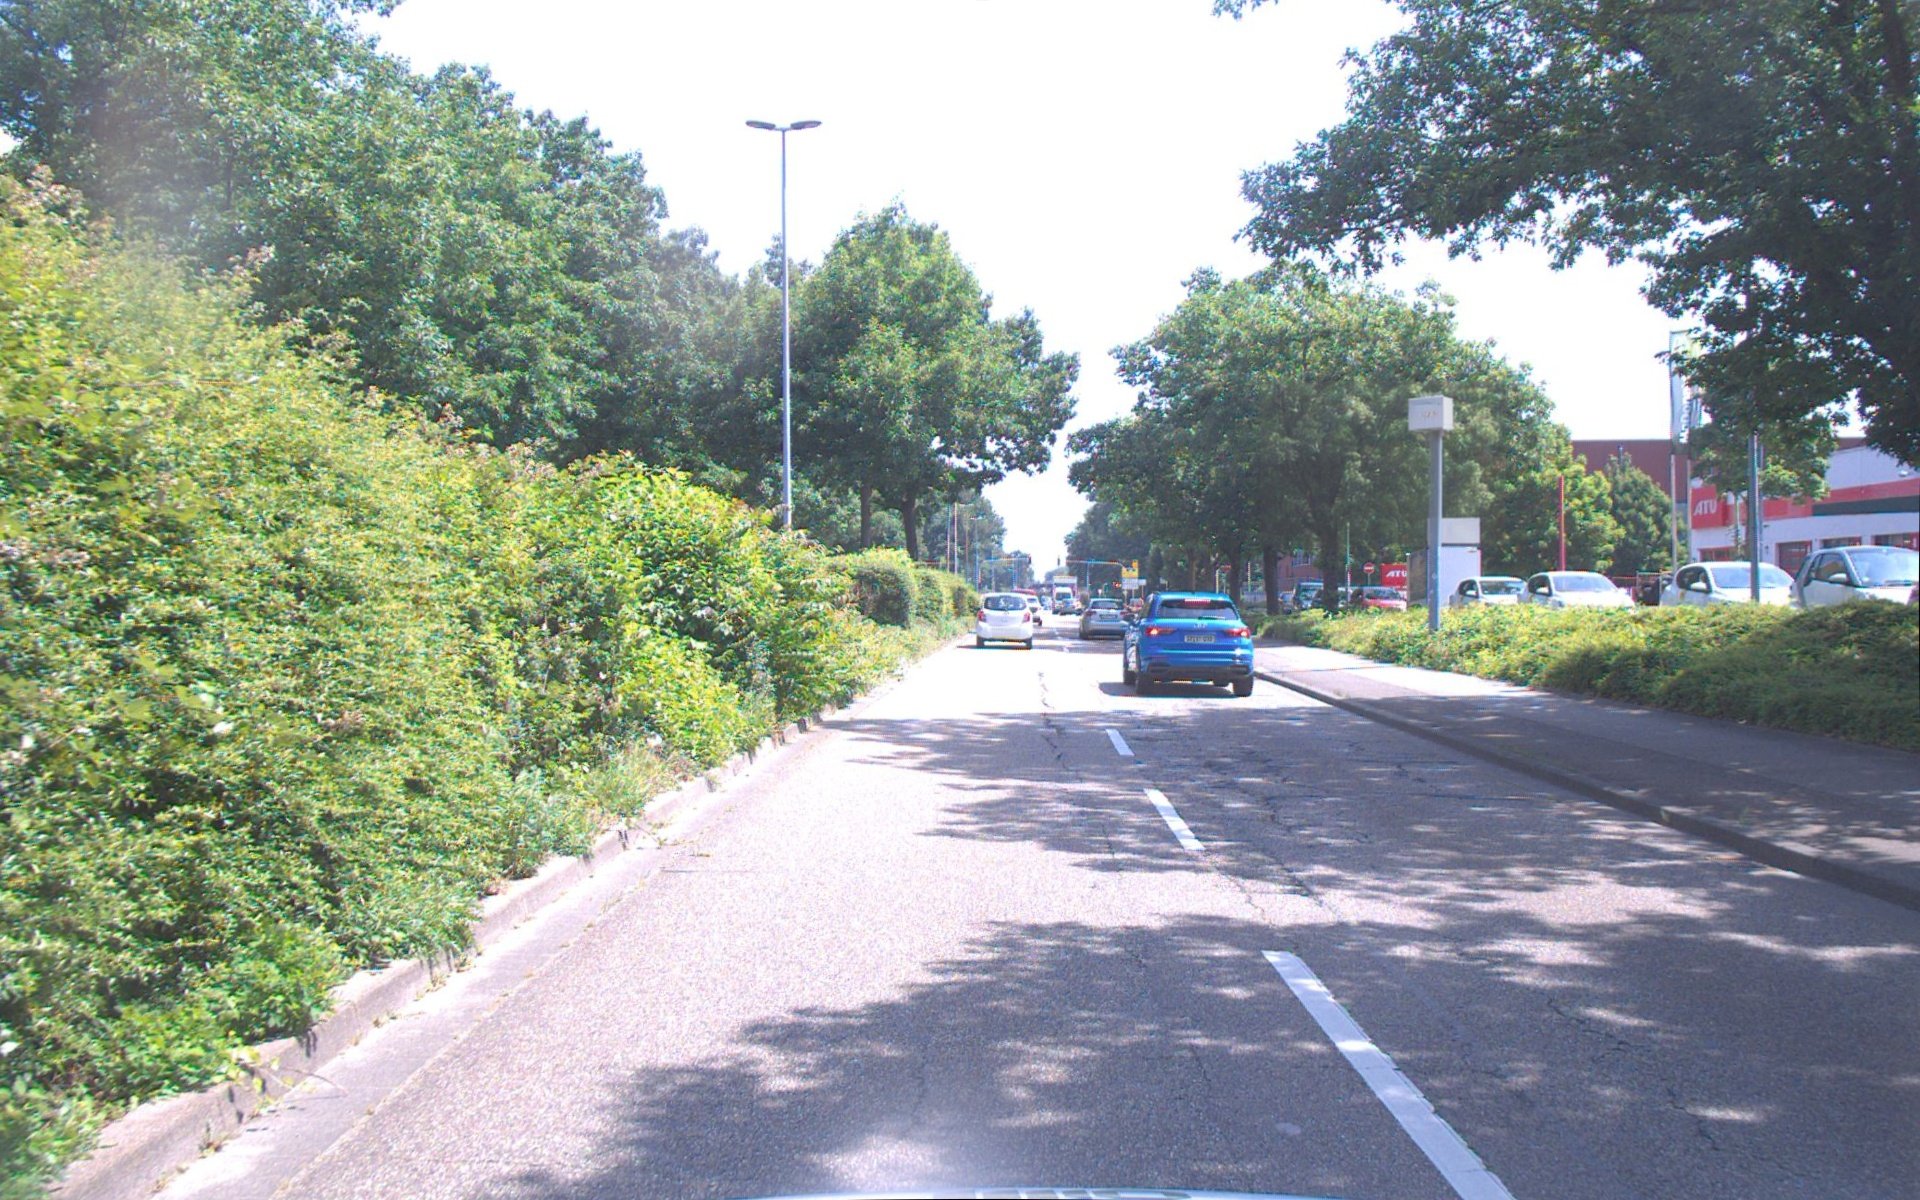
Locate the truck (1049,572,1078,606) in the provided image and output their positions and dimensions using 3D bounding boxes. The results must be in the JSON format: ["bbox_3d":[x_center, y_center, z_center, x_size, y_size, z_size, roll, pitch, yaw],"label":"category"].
[{"bbox_3d":[11.009,-1.159,176.627,2.871,3.564,9.161,-1,0,3],"label":"truck"}]

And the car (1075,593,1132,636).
[{"bbox_3d":[5.061,0.511,58.718,1.827,1.499,4.001,0,-1,2],"label":"car"}]

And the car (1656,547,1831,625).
[{"bbox_3d":[13.683,-0.212,29.116,1.584,1.275,3.869,0,-1,6],"label":"car"}]

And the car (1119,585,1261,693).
[{"bbox_3d":[3.672,0.603,27.087,1.771,1.621,4.349,0,-1,1],"label":"car"}]

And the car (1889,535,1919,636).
[{"bbox_3d":[12.830,-0.191,19.819,1.584,1.275,3.766,0,-1,6],"label":"car"}]

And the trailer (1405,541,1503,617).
[{"bbox_3d":[14.412,-0.588,48.510,1.664,2.091,5.487,-1,0,5],"label":"trailer"}]

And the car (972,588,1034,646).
[{"bbox_3d":[1.200,0.476,47.051,1.605,1.579,3.324,0,-1,-1],"label":"car"}]

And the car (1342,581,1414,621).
[{"bbox_3d":[15.251,0.029,60.482,1.665,1.404,4.325,-1,0,2],"label":"car"}]

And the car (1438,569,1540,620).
[{"bbox_3d":[13.787,-0.116,43.304,1.585,1.275,3.631,0,-1,1],"label":"car"}]

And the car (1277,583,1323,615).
[{"bbox_3d":[15.944,-0.020,77.708,1.664,1.449,4.657,-1,-1,6],"label":"car"}]

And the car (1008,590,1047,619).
[{"bbox_3d":[3.305,0.234,80.143,1.845,1.378,4.001,0,-1,3],"label":"car"}]

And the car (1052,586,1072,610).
[{"bbox_3d":[10.249,-0.224,166.127,1.952,2.295,4.001,-1,0,3],"label":"car"}]

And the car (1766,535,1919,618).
[{"bbox_3d":[13.124,-0.311,24.012,1.476,1.142,2.856,0,-1,1],"label":"car"}]

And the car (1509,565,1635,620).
[{"bbox_3d":[13.613,-0.142,36.978,1.560,1.178,3.739,0,-1,2],"label":"car"}]

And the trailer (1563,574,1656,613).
[{"bbox_3d":[28.429,-0.264,72.453,3.529,1.609,1.413,-1,0,4],"label":"trailer"}]

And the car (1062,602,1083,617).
[{"bbox_3d":[10.234,0.856,150.667,1.827,1.333,4.001,-1,0,2],"label":"car"}]

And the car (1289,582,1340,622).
[{"bbox_3d":[15.463,0.104,72.332,1.665,1.666,3.907,-1,-1,4],"label":"car"}]
